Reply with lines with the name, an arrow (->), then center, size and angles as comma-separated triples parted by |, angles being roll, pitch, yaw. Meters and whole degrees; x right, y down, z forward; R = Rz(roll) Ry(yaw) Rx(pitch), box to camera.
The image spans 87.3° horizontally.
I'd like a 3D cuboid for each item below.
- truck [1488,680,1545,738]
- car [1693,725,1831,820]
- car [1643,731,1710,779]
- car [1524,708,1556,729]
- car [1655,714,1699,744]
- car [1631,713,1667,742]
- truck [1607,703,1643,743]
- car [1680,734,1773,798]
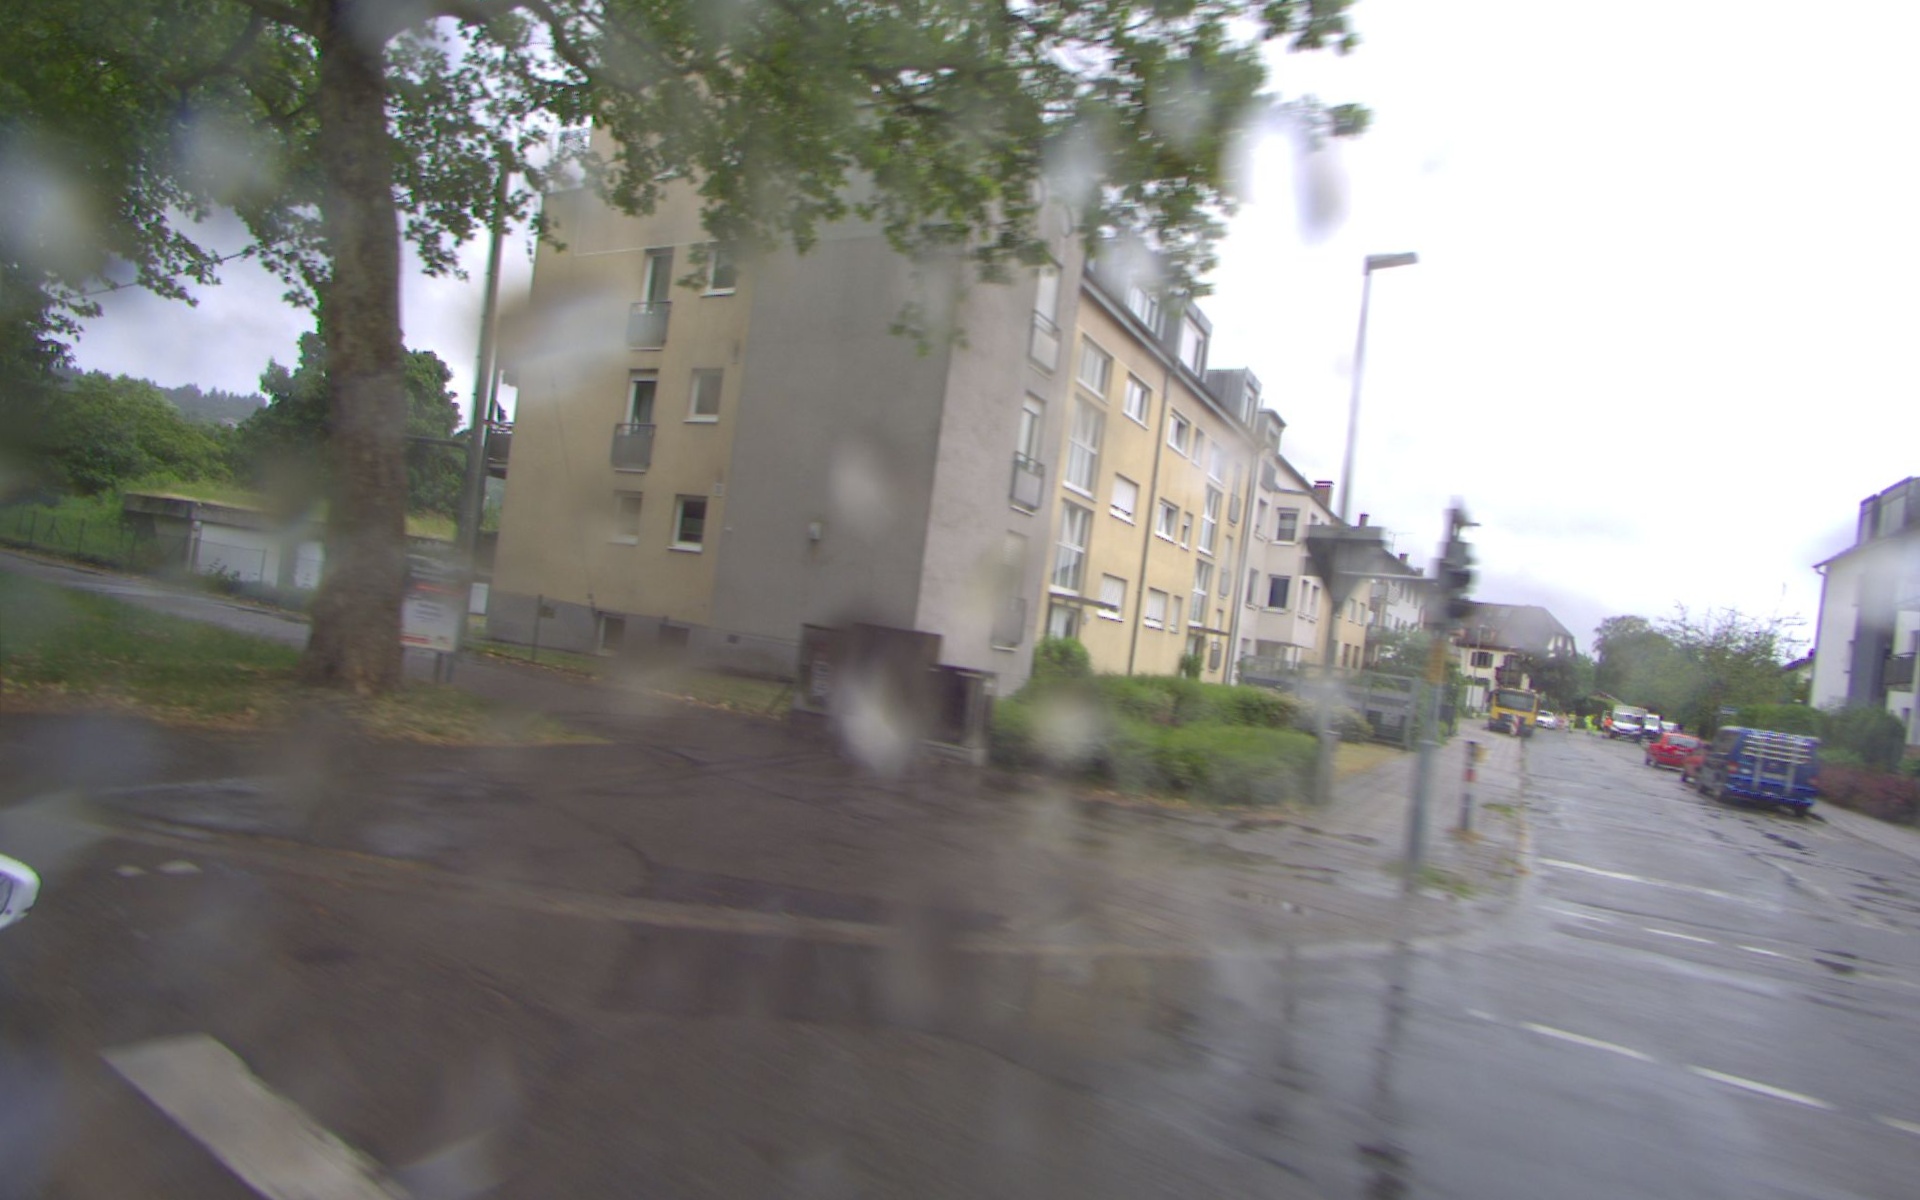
truck -> 33.387, 6.535, 60.404 | 2.499, 2.884, 8.525 | 7, -2, 29
car -> 20.892, 4.410, 26.419 | 1.895, 1.898, 4.678 | 7, -2, 30
car -> 29.076, 6.259, 40.930 | 1.691, 1.517, 3.514 | 7, -2, 30
car -> 50.067, 10.249, 86.789 | 1.968, 1.481, 3.991 | 7, -2, 35
car -> 67.646, 12.188, 94.910 | 3.964, 2.248, 1.982 | 9, -1, -34
car -> 61.252, 11.341, 89.407 | 1.904, 2.248, 3.981 | 7, -2, 43
truck -> 53.056, 9.811, 80.241 | 2.050, 2.819, 5.225 | 7, -1, 35
car -> 23.992, 5.153, 31.619 | 1.691, 1.517, 3.514 | 7, -2, 30
